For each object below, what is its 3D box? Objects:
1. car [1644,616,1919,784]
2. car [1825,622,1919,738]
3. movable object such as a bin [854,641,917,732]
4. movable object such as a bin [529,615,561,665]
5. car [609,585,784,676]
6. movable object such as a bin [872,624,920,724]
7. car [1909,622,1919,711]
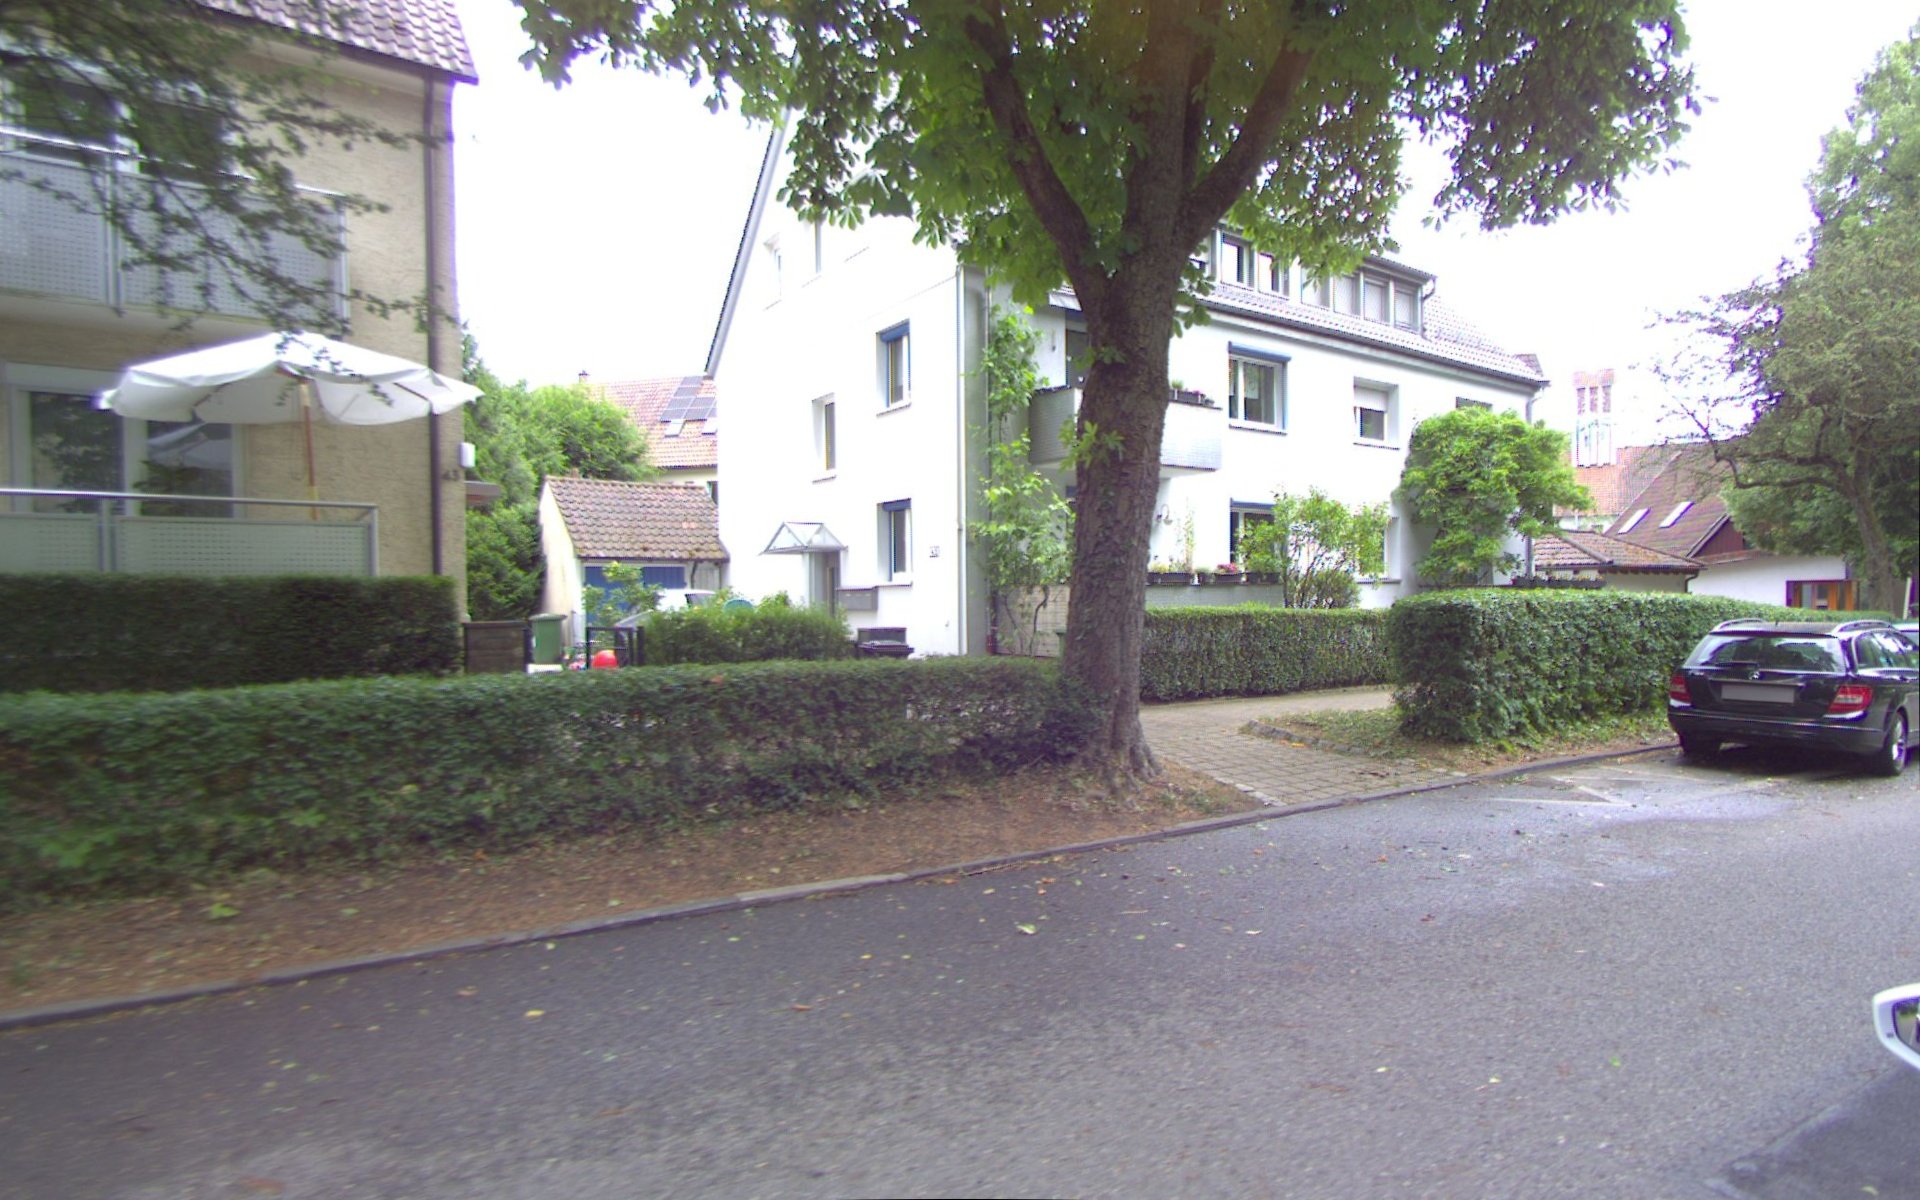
[{"bbox_3d":[9.383,0.921,10.972,4.374,1.492,1.782,0,-1,-36],"label":"car"},{"bbox_3d":[13.302,1.017,13.549,3.670,1.410,1.653,0,-1,-35],"label":"car"},{"bbox_3d":[-0.797,0.903,10.717,0.504,0.927,0.452,1,-1,-39],"label":"movable object such as a bin"},{"bbox_3d":[-8.934,0.857,21.608,0.542,1.053,0.500,1,-1,-35],"label":"movable object such as a bin"},{"bbox_3d":[-5.075,0.549,18.990,1.784,1.530,3.957,0,-1,-38],"label":"car"},{"bbox_3d":[-0.727,0.825,11.386,0.402,1.103,0.377,1,-1,-38],"label":"movable object such as a bin"},{"bbox_3d":[17.791,1.083,16.756,4.593,1.429,1.784,0,-1,-32],"label":"car"}]
